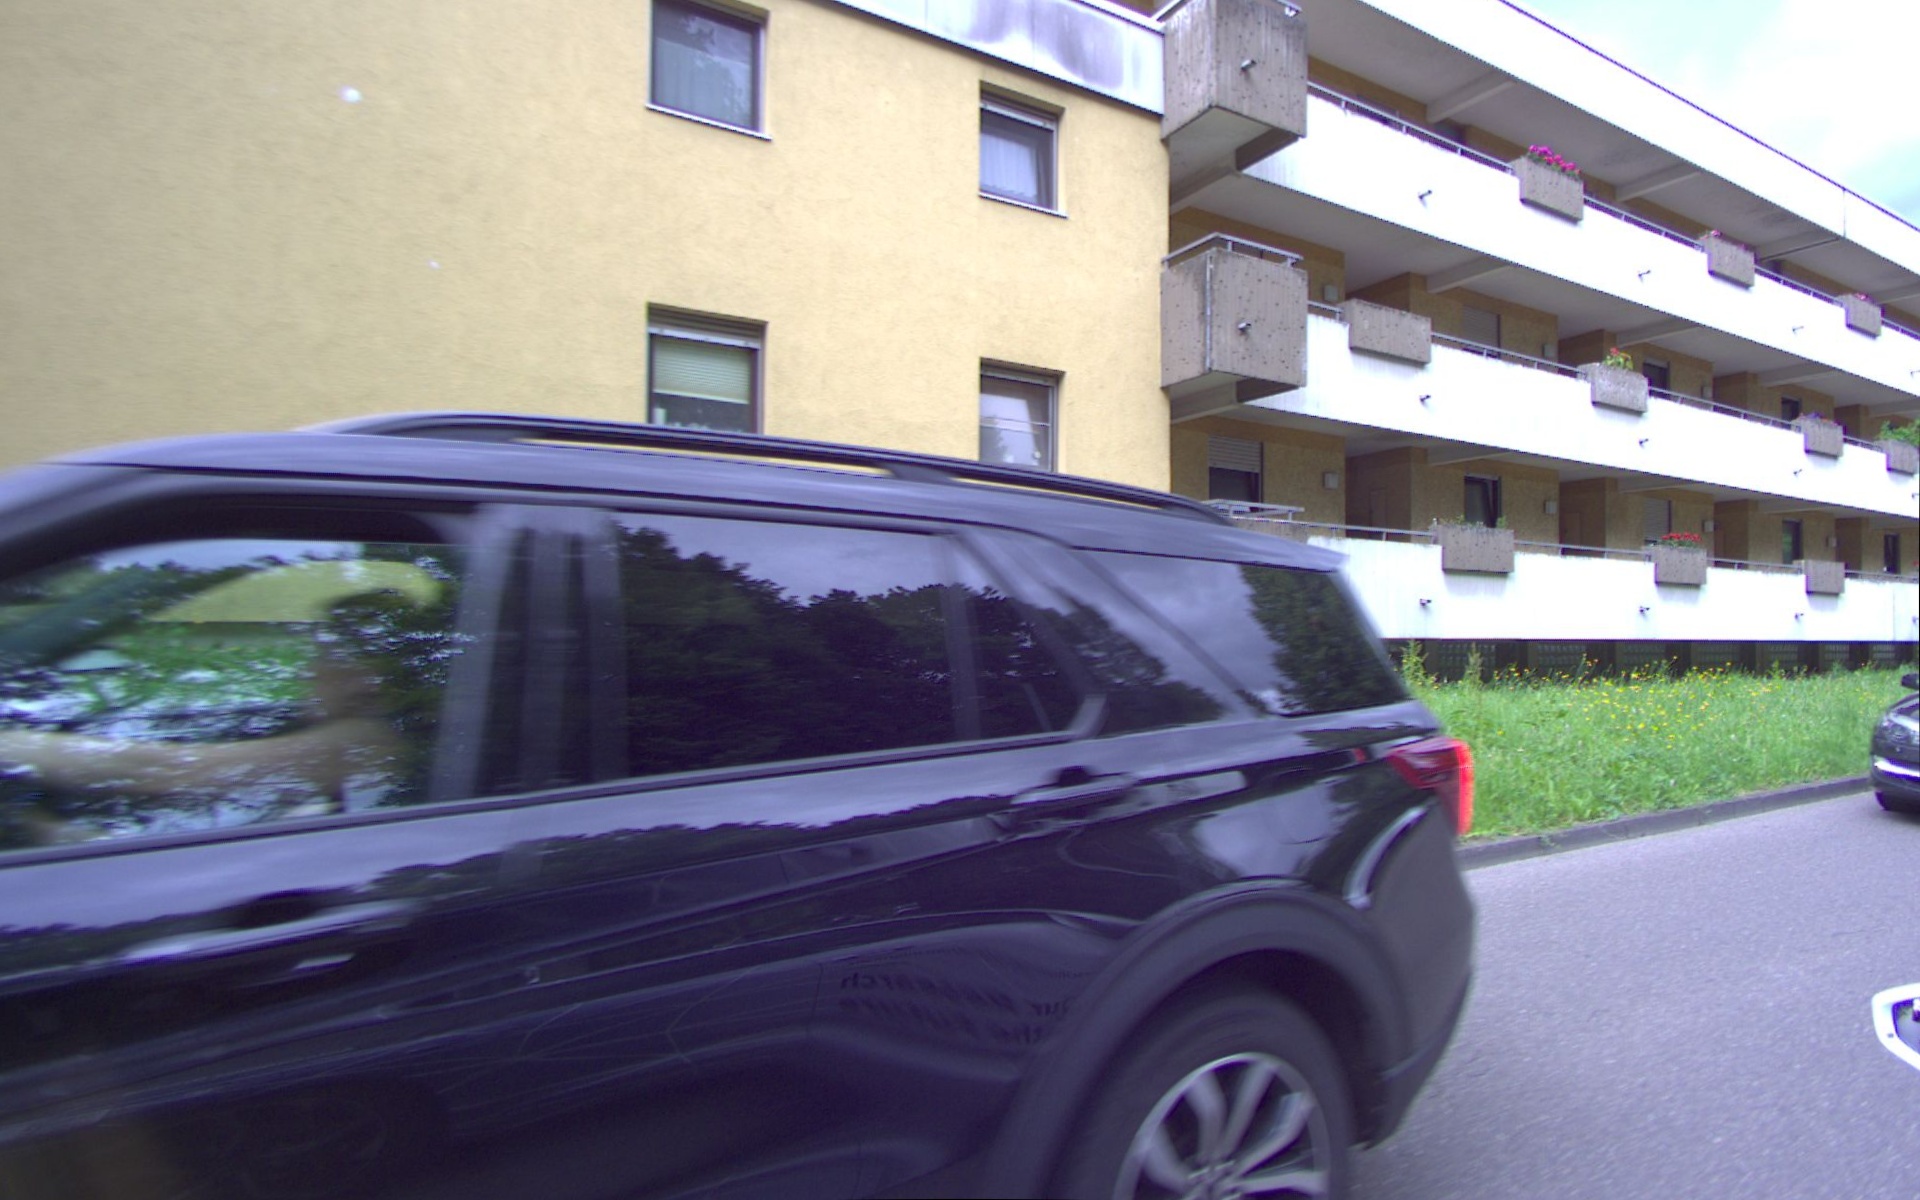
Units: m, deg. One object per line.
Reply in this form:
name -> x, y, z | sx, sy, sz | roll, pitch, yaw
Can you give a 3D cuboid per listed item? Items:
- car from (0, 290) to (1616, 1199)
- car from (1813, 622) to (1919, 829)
car -> -1.069, 0.596, 1.926 | 4.999, 1.740, 1.904 | 1, -1, -31
car -> 8.741, 0.911, 7.841 | 4.373, 1.430, 1.904 | 1, -1, -31
